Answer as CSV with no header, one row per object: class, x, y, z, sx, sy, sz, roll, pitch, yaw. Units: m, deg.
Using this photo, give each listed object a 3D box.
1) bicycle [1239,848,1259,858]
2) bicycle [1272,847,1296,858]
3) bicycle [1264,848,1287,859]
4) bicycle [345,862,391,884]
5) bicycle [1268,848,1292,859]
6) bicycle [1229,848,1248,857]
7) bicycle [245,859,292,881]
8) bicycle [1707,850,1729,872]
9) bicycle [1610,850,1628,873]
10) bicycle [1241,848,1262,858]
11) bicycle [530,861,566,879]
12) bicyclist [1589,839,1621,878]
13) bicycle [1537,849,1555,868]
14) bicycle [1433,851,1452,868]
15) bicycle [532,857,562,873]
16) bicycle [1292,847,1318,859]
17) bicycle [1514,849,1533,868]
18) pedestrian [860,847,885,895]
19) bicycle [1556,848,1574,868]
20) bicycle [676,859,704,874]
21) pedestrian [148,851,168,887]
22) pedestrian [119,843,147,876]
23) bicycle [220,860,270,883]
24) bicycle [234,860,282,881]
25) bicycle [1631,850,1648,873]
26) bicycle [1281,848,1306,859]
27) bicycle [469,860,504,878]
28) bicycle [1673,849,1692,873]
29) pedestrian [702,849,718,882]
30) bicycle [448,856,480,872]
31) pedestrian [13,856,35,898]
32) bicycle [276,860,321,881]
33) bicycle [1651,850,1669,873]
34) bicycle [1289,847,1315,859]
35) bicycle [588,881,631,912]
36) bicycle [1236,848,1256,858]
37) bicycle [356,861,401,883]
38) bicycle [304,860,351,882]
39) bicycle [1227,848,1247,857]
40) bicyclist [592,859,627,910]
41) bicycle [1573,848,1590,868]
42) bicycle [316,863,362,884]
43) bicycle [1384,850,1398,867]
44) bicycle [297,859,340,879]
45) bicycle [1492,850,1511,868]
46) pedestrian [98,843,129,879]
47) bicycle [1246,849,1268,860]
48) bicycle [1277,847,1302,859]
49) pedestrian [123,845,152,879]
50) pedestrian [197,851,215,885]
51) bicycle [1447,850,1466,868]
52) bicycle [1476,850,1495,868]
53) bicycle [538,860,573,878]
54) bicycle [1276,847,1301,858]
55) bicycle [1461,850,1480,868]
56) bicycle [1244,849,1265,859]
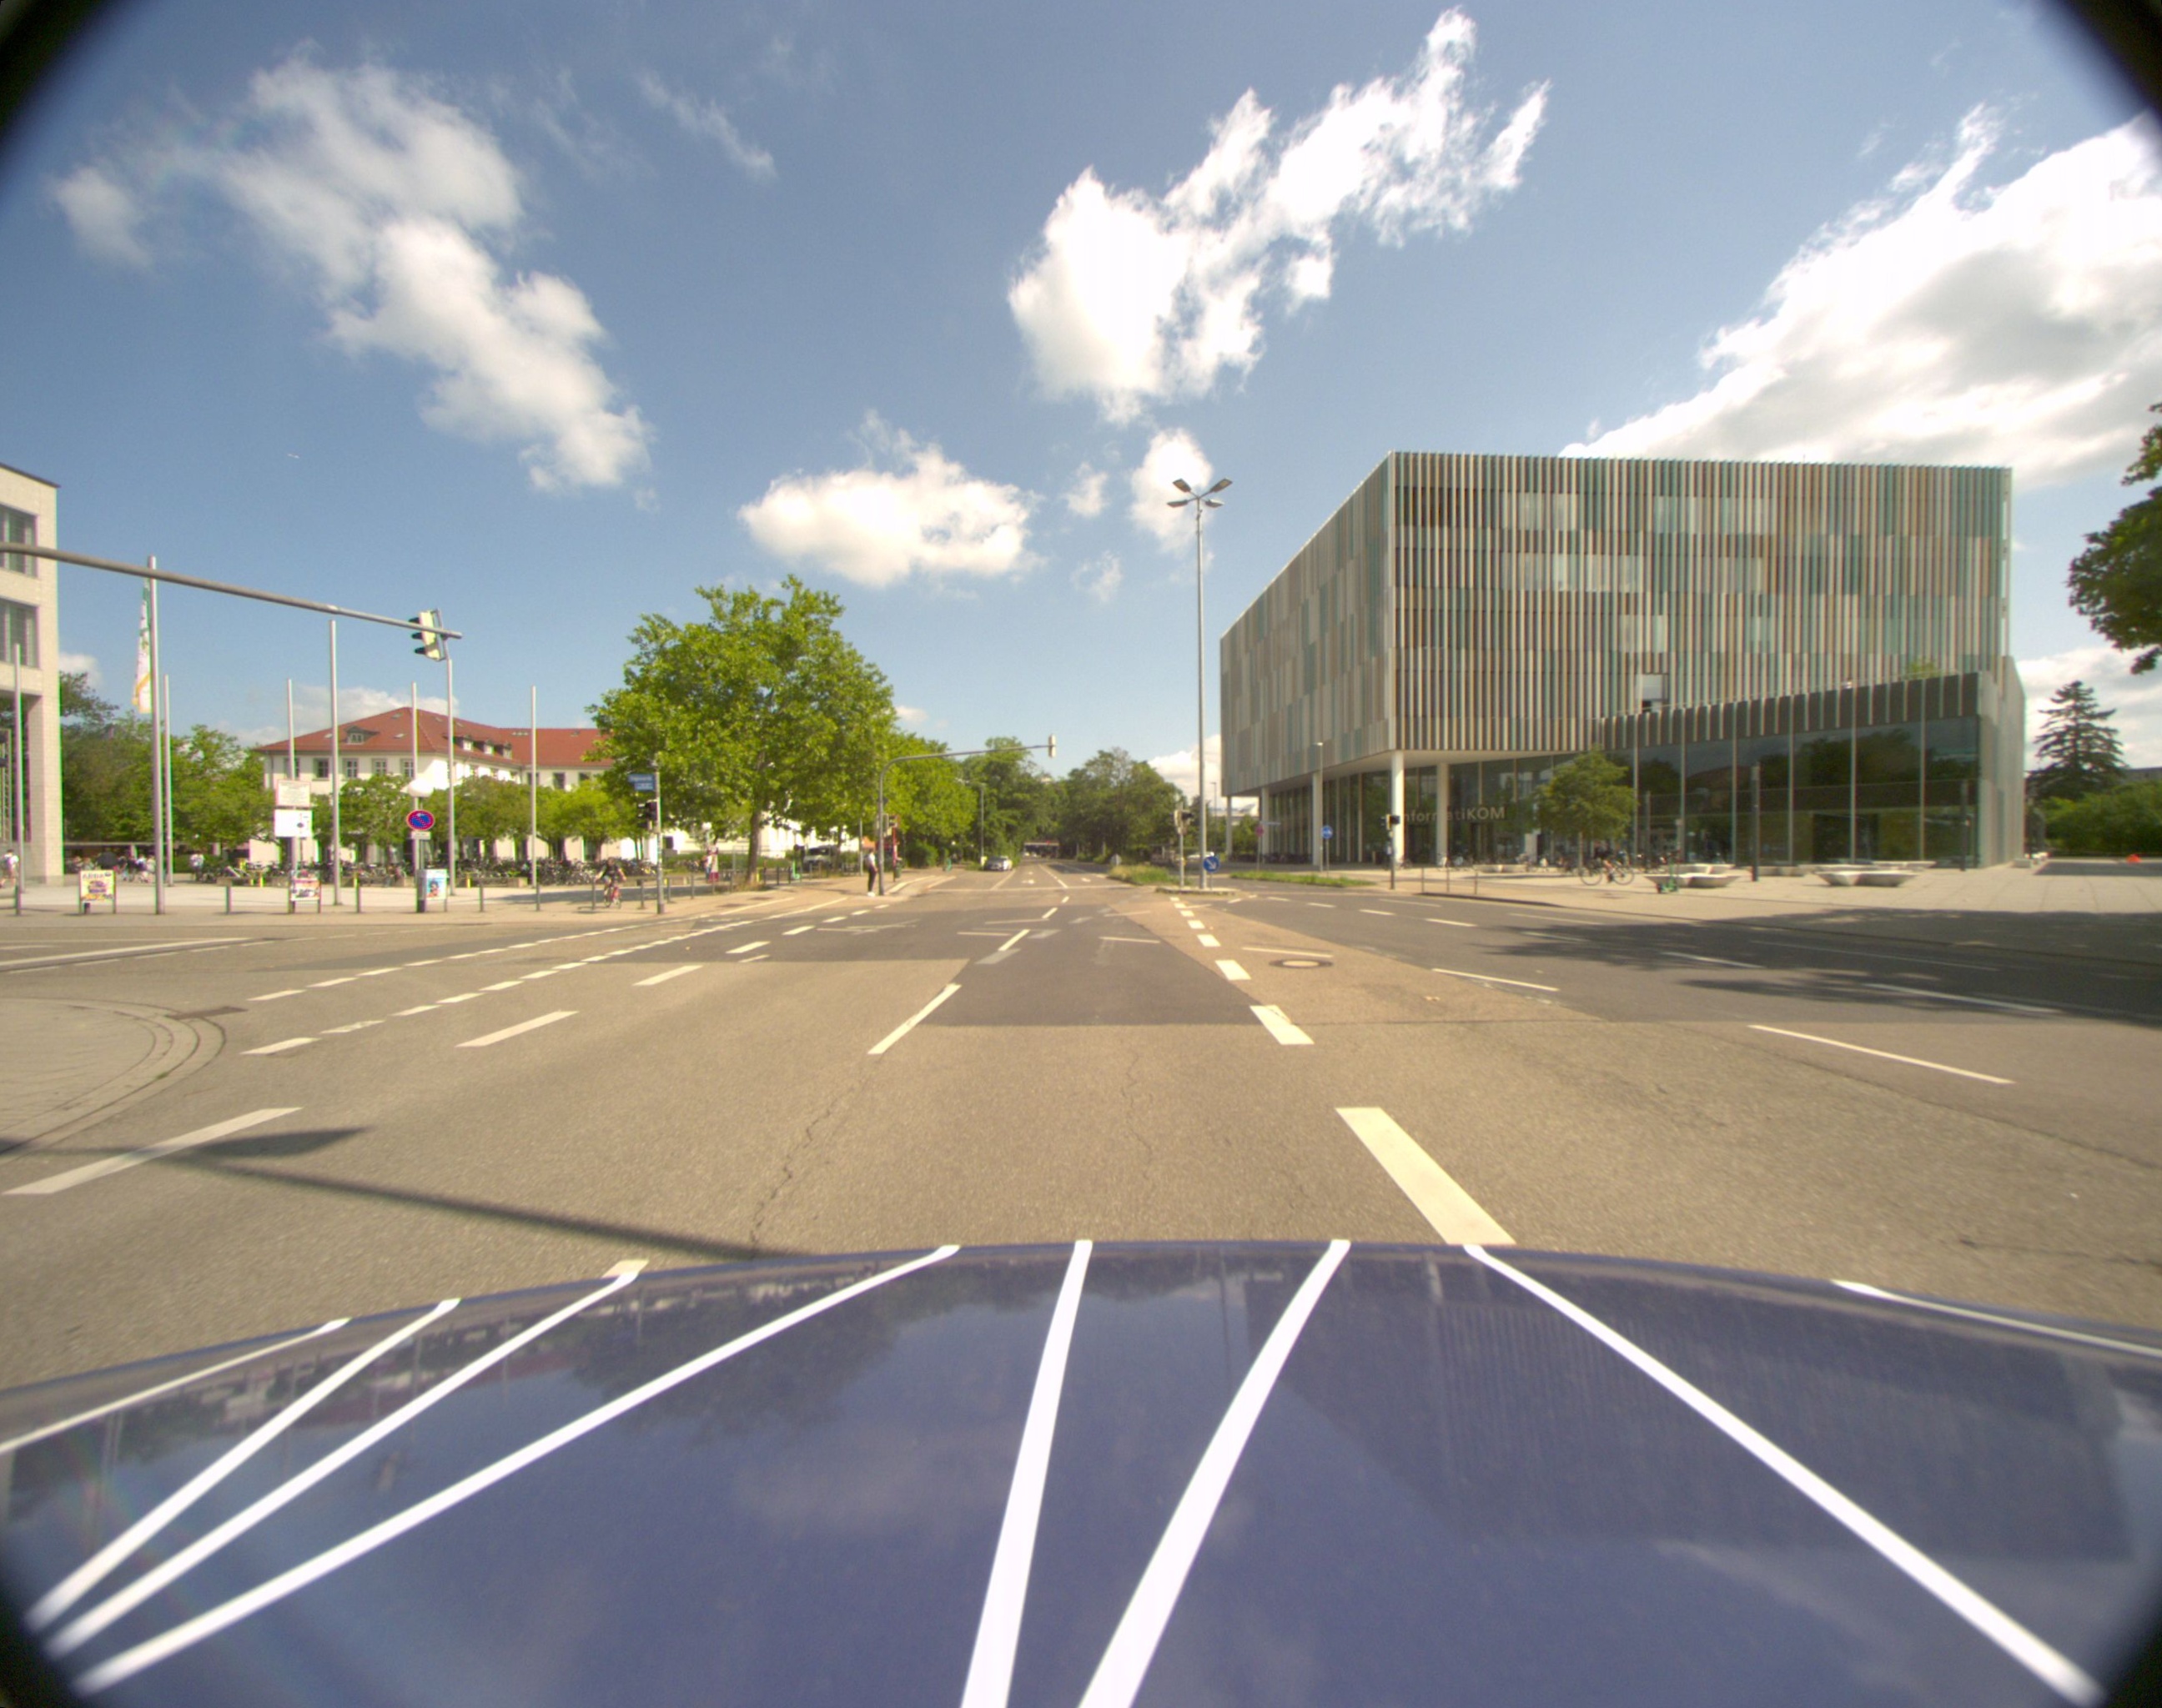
bicycle,19.279,-0.121,87.172,2.218,1.083,0.722,-1,1,-8
bicycle,20.325,-0.113,76.197,2.218,1.090,0.722,-1,1,-8
bicycle,20.021,-0.063,78.130,2.218,1.090,0.722,-1,1,-8
bicycle,-37.448,1.008,39.925,1.673,1.090,0.626,-1,1,-8
bicycle,20.244,-0.088,77.230,2.218,1.090,0.722,-1,1,-8
bicycle,19.293,-0.211,93.221,2.218,1.090,0.722,-1,1,-8
bicycle,-43.307,0.847,40.520,1.673,1.090,0.626,-1,1,-8
bicycle,32.592,0.327,38.915,0.720,1.090,2.223,0,1,36
bicycle,29.682,0.404,41.900,0.745,1.183,2.323,0,1,37
bicycle,19.358,-0.107,86.365,2.218,1.090,0.722,-1,1,-8
bicycle,-32.259,0.971,46.025,1.673,1.090,0.626,-1,1,-8
bicyclist,19.808,0.172,28.724,0.944,1.456,0.633,0,1,31
bicycle,27.206,0.258,44.458,0.720,1.090,2.223,0,1,36
bicycle,23.250,0.344,48.867,0.720,1.090,2.223,0,1,36
bicycle,-38.563,0.784,54.892,1.673,1.090,0.626,-1,1,-8
bicycle,20.794,-0.054,70.651,2.218,1.090,0.722,-1,1,-8
bicycle,26.299,0.245,45.126,0.720,1.090,2.223,0,1,36
pedestrian,-8.116,0.667,29.648,0.701,1.815,0.942,2,1,-2
bicycle,28.019,0.234,43.957,0.720,1.090,2.223,0,1,36
bicycle,-29.063,0.904,56.472,1.673,1.090,0.626,-1,1,-8
pedestrian,-47.686,0.762,39.246,0.532,1.837,0.515,0,1,29
pedestrian,-53.499,0.331,42.893,0.695,1.837,0.642,-1,1,-14
bicycle,-43.047,0.896,39.132,1.673,1.090,0.626,-1,1,-8
bicycle,-43.139,0.851,39.846,1.673,1.090,0.626,-1,1,-8
bicycle,30.376,0.387,41.336,0.745,1.183,2.323,0,1,37
bicycle,20.337,-0.039,72.751,2.218,1.090,0.722,-1,1,-8
bicycle,-38.548,0.959,49.286,1.673,1.090,0.626,-1,1,-8
bicycle,31.599,0.361,39.925,0.745,1.183,2.323,0,1,37
pedestrian,-19.163,0.591,39.263,0.640,1.640,0.740,-1,1,-33
bicycle,-44.554,0.716,54.887,1.673,1.090,0.626,-1,1,-8
pedestrian,-45.826,0.981,32.941,0.484,1.797,0.442,0,1,27
bicycle,-43.643,0.920,42.395,1.673,1.090,0.626,-1,1,-8
bicycle,30.829,0.381,40.474,0.745,1.183,2.323,0,1,37
bicycle,20.850,-0.080,71.726,2.218,1.090,0.755,-1,1,-8
bicycle,-14.233,1.264,22.924,1.510,0.828,0.621,0,1,39
bicycle,19.114,-0.138,88.069,2.218,1.090,0.722,-1,1,-8
bicycle,-37.594,0.955,40.651,1.673,1.090,0.626,-1,1,-8
bicycle,-39.264,0.886,39.607,1.673,1.090,0.626,-1,1,-8
bicycle,18.754,-0.205,91.323,2.218,1.090,0.722,-1,1,-8
bicyclist,-14.205,0.897,22.881,0.916,1.498,0.613,0,1,39
bicycle,28.620,0.235,43.437,0.720,1.090,2.223,0,1,36
bicycle,-39.349,1.028,40.304,1.673,1.090,0.626,-1,1,-8
bicycle,20.964,0.305,51.414,0.547,1.090,1.635,-1,0,9
bicycle,-43.700,0.856,43.553,1.673,1.090,0.626,-1,1,-8
bicycle,25.863,0.285,46.711,0.720,1.090,2.223,0,1,36
pedestrian,-49.948,0.349,39.214,0.693,1.837,0.805,0,1,23
bicycle,19.379,0.060,83.693,2.218,1.090,0.722,-1,1,-8
bicycle,20.438,-0.088,74.367,2.218,1.090,0.735,-1,1,-8
pedestrian,-50.874,0.417,40.963,0.695,1.837,0.642,-1,1,-14
pedestrian,-47.797,0.742,41.499,0.532,1.837,0.515,0,1,29
bicycle,23.953,0.319,48.455,0.720,1.090,2.223,0,1,36
bicycle,25.146,0.312,47.247,0.720,1.090,2.223,0,1,36
bicycle,-32.468,0.925,46.958,1.673,1.090,0.626,-1,1,-8
bicycle,20.561,-0.124,75.274,2.218,1.090,0.722,-1,1,-8
bicycle,24.579,0.314,47.947,0.720,1.090,2.223,0,1,36
bicycle,19.377,0.021,84.817,2.218,1.090,0.722,-1,1,-8
